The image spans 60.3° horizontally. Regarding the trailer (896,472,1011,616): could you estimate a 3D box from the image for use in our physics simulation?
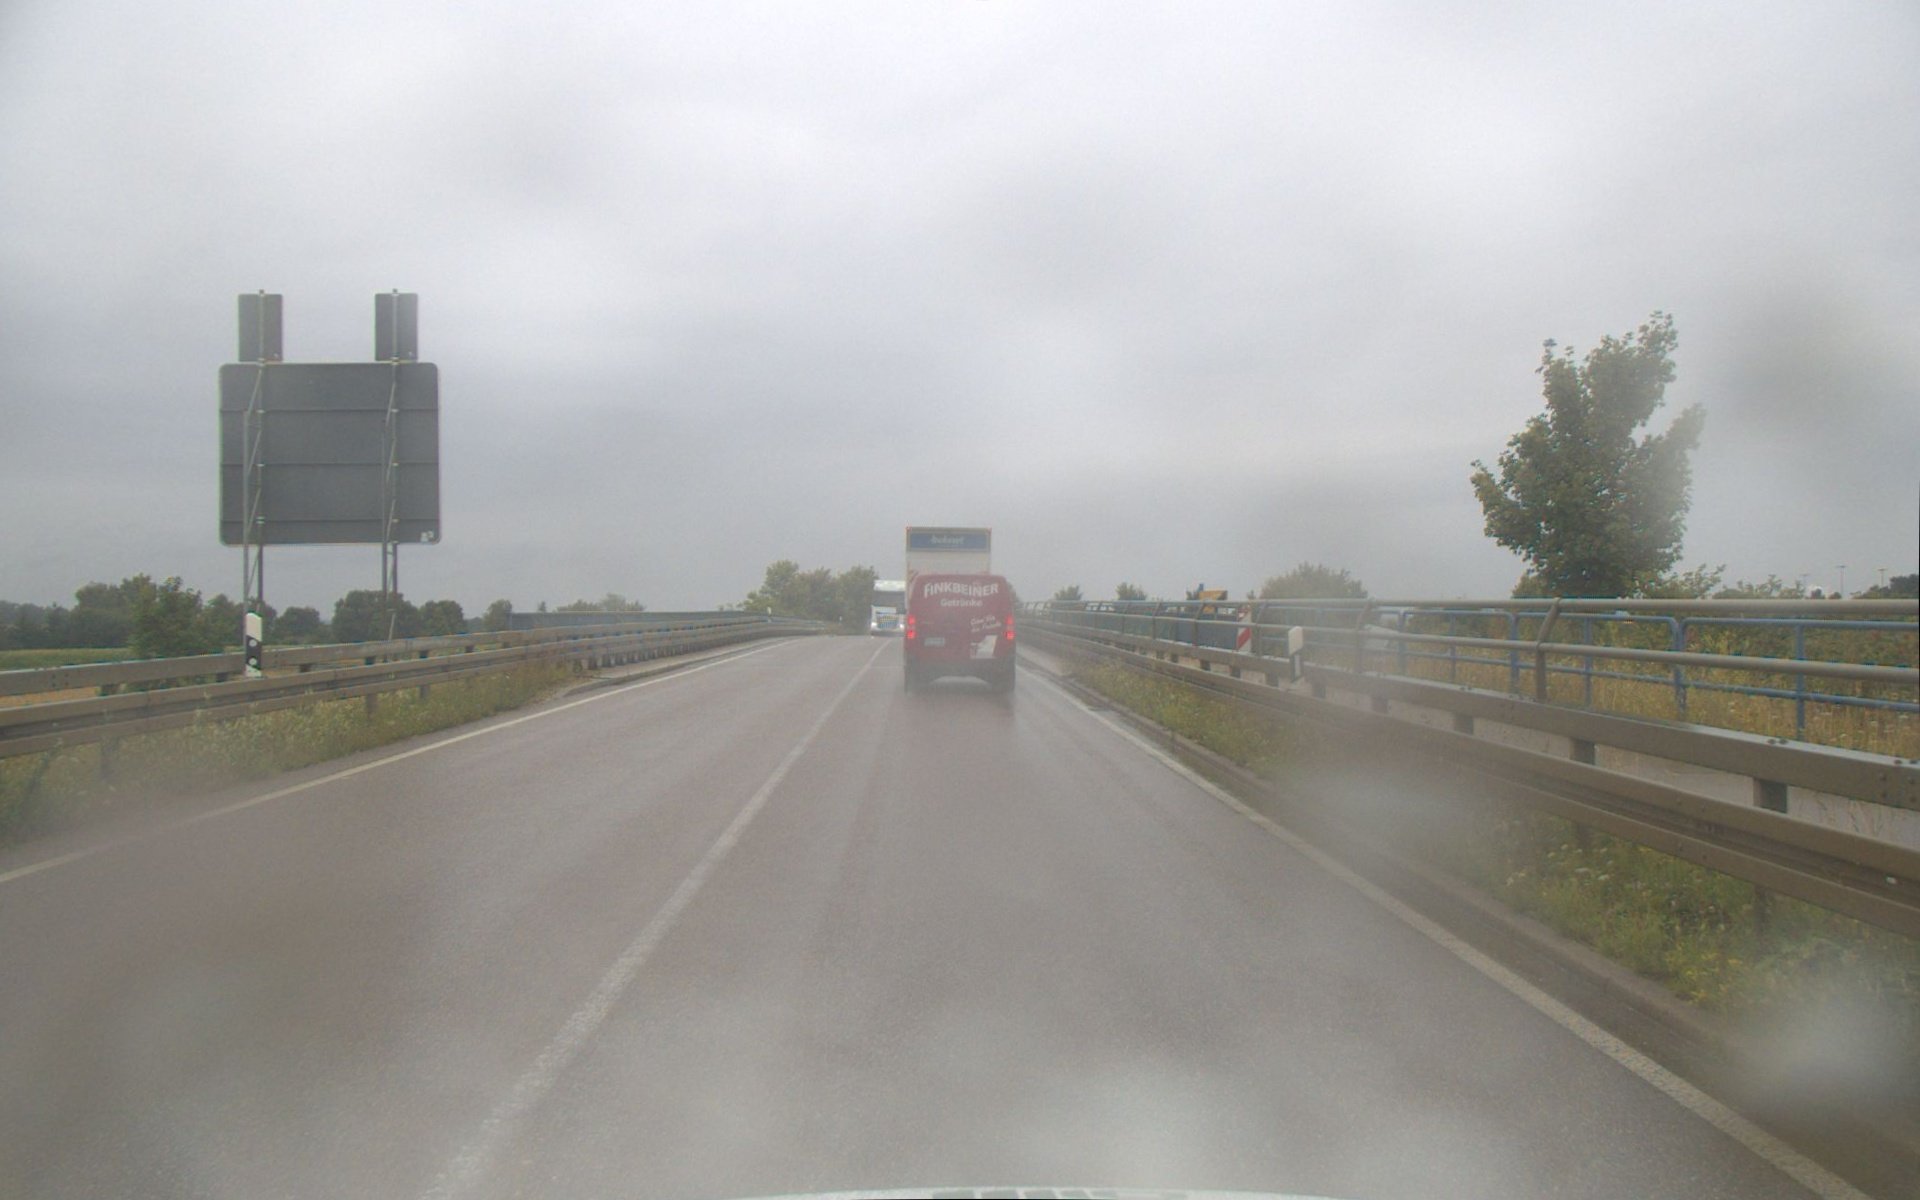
[{"bbox_3d":[-0.167,-1.572,52.174,3.136,3.990,8.739,3,-1,0],"label":"trailer"}]

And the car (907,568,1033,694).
[{"bbox_3d":[0.091,0.471,28.142,1.953,1.959,4.142,1,0,-2],"label":"car"}]

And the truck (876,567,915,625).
[{"bbox_3d":[-4.684,-0.264,120.458,2.761,4.040,8.760,0,0,-2],"label":"truck"}]
